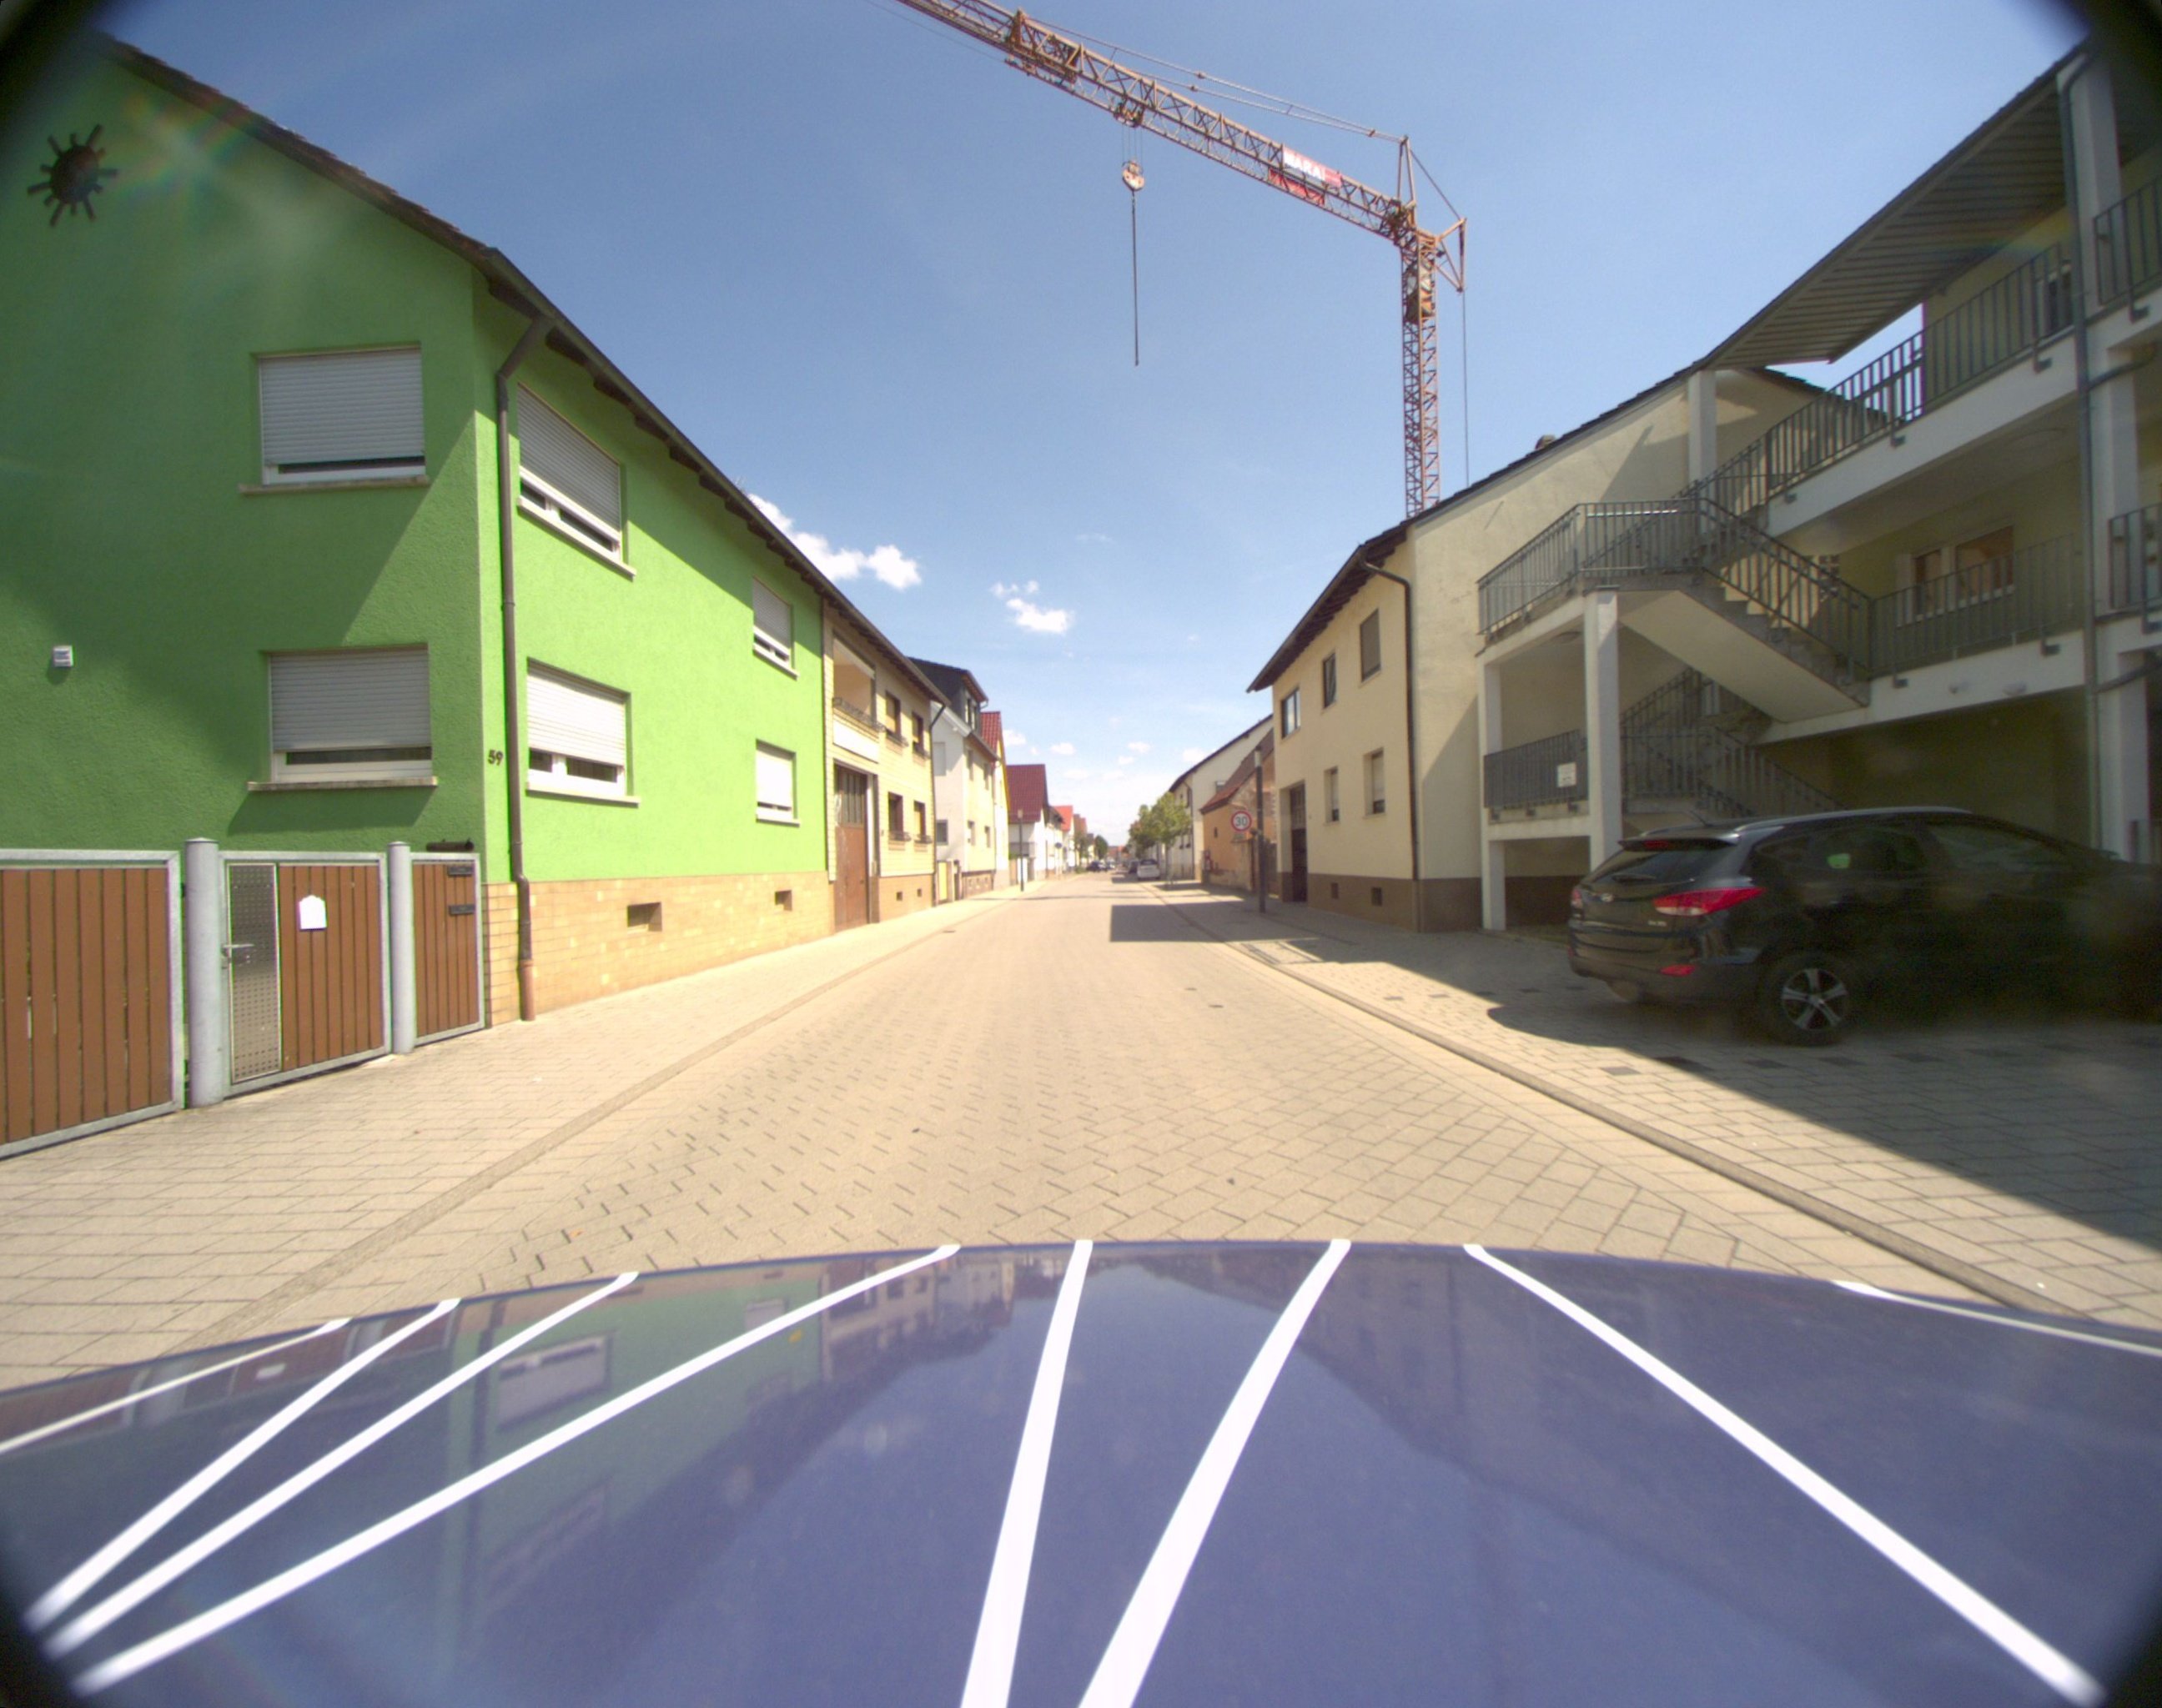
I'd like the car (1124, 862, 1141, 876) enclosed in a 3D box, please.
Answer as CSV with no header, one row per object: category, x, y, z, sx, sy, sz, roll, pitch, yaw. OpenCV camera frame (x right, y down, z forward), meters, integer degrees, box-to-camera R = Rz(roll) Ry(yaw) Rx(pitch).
car,6.284,1.831,92.909,1.752,1.556,3.955,-1,0,1

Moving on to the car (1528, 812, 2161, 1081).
car,6.258,0.627,6.060,4.229,1.648,1.785,-4,0,3

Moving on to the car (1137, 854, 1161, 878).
car,4.862,0.822,54.536,1.576,1.552,2.823,-4,0,5

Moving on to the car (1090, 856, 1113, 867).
car,2.855,1.085,107.399,1.729,1.420,3.811,-1,0,-23

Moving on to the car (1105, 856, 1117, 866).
car,5.220,1.189,130.498,1.957,1.521,4.001,-1,0,4
